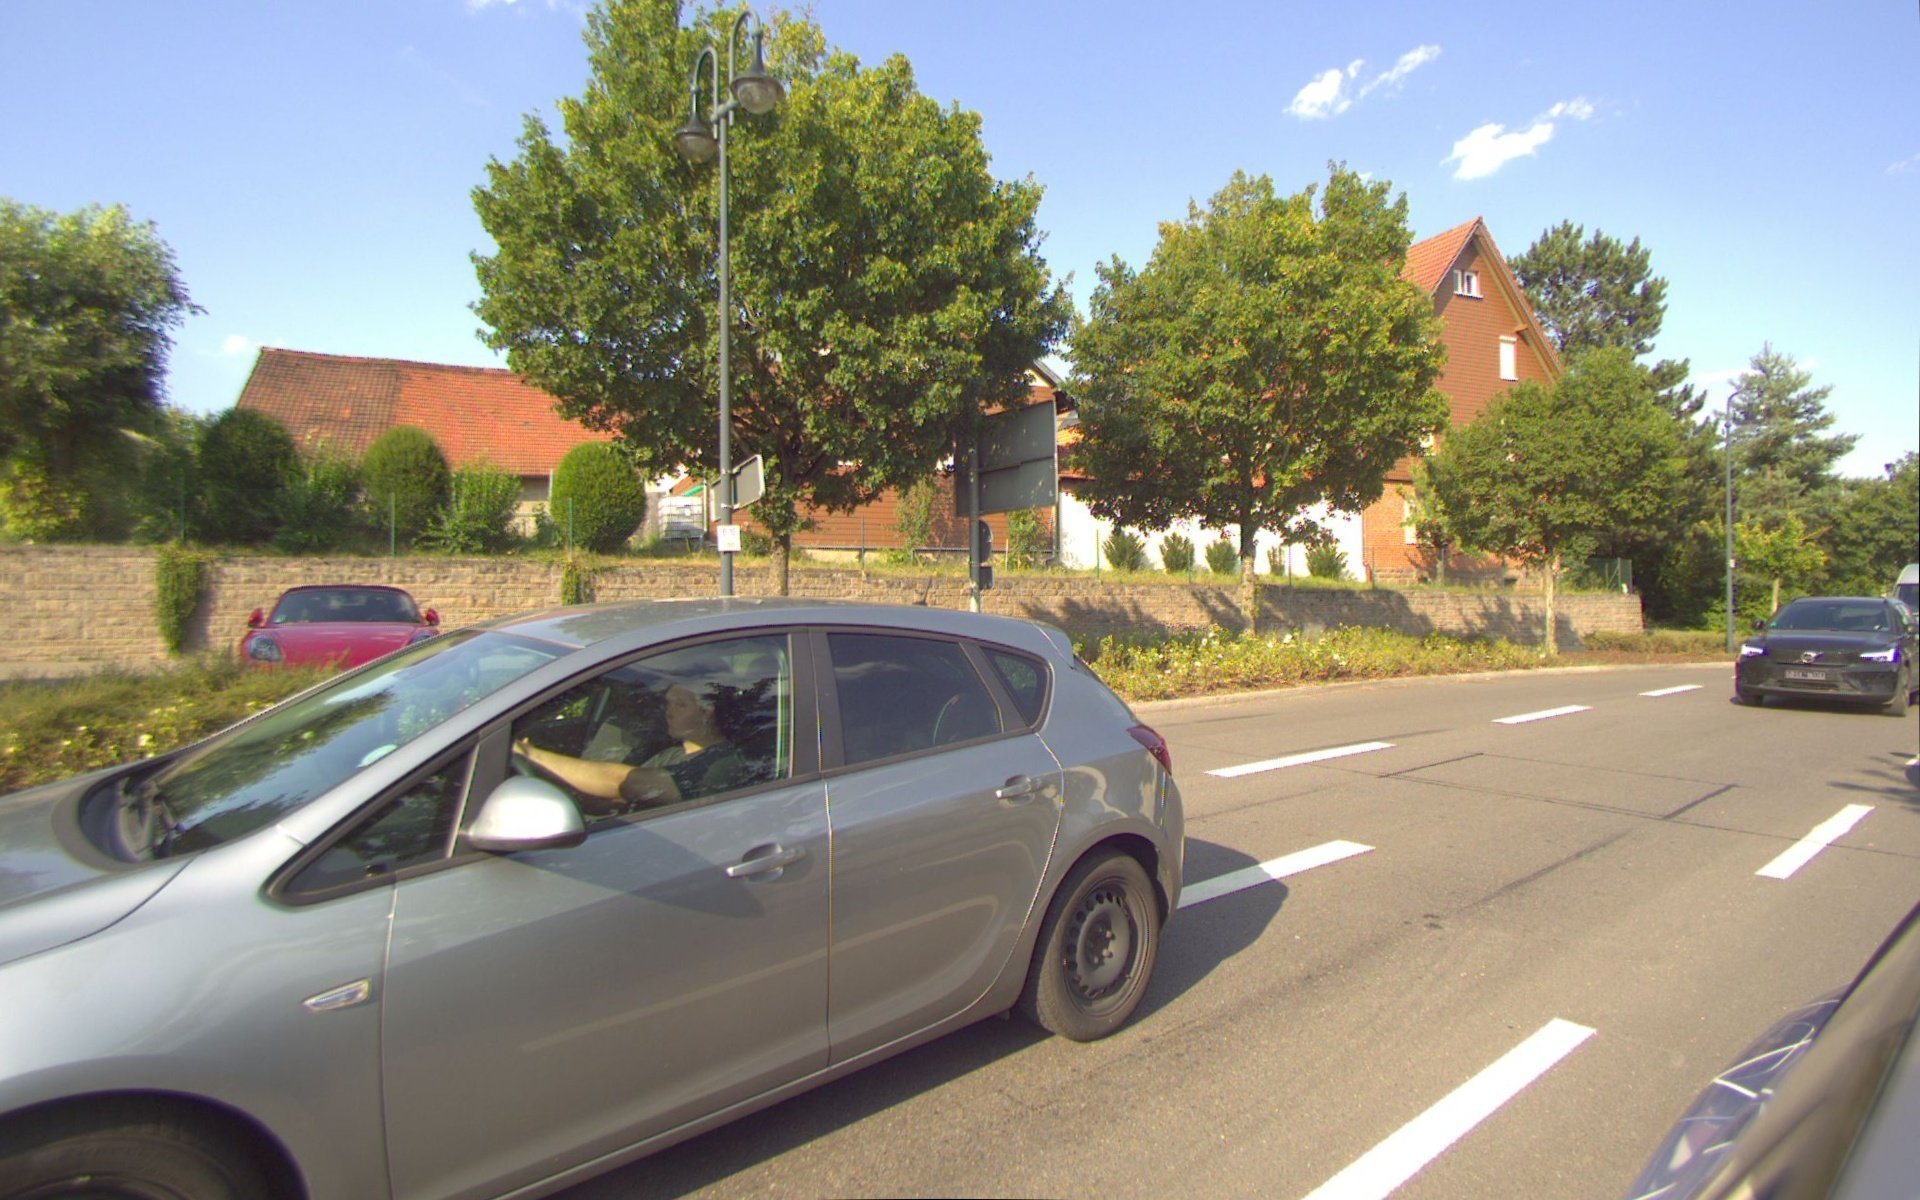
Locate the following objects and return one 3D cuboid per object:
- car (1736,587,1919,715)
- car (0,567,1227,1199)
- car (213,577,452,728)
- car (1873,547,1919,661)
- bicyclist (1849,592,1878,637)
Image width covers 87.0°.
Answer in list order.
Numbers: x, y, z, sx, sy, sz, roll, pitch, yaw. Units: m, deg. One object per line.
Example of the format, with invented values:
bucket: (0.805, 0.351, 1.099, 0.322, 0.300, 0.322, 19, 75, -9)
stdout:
car: (13.121, 0.633, 14.889, 4.054, 1.629, 1.885, 0, 0, -40)
car: (-1.112, 0.671, 3.038, 4.095, 1.460, 1.746, 0, 0, -42)
car: (-6.486, 0.442, 10.825, 1.816, 1.288, 4.005, 0, 0, -28)
car: (24.130, 0.085, 24.373, 6.082, 2.579, 2.369, 0, 0, -40)
bicyclist: (34.735, 0.557, 38.902, 0.719, 1.699, 0.605, 0, 0, -28)
